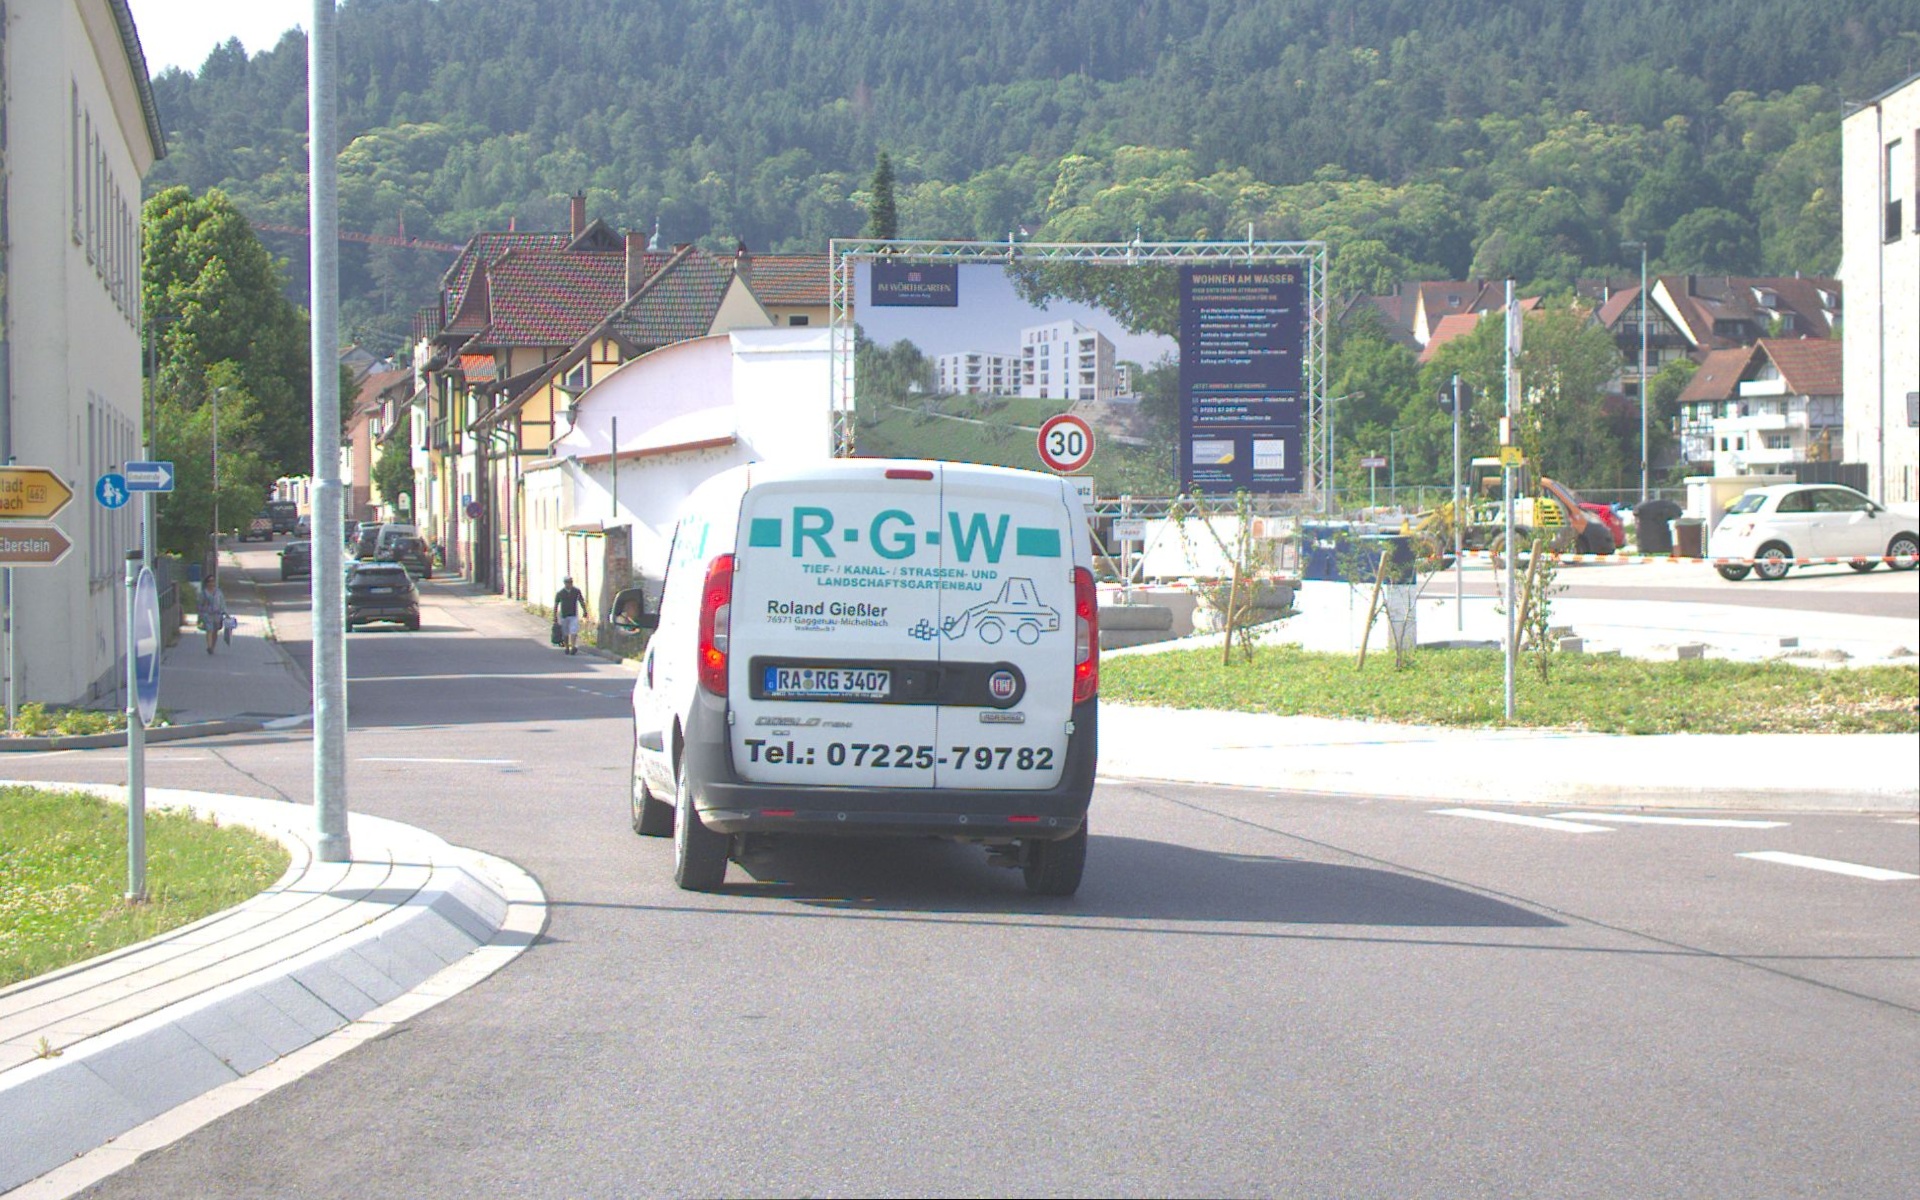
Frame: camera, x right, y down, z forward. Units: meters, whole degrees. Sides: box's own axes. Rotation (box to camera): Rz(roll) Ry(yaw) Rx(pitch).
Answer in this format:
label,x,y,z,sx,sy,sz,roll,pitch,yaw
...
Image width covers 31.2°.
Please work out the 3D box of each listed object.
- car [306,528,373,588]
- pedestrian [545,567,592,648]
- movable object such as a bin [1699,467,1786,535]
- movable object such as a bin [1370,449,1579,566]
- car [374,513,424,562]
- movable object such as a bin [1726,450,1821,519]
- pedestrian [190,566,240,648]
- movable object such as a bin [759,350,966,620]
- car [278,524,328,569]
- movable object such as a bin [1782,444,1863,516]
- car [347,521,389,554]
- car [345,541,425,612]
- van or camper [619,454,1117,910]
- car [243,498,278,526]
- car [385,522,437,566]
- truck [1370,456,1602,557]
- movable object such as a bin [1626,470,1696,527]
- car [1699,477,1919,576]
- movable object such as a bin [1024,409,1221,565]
label,x,y,z,sx,sy,sz,roll,pitch,yaw
car,-17.992,-1.242,99.579,1.810,1.591,3.928,2,2,-11
pedestrian,-8.243,0.158,72.322,0.888,1.677,0.719,1,0,-12
movable object such as a bin,17.695,-2.245,77.791,1.580,1.459,1.320,2,2,-1
movable object such as a bin,12.040,-2.145,80.417,4.615,2.560,1.924,-1,1,14
car,-23.780,-2.646,145.633,1.870,2.006,4.001,0,2,-12
movable object such as a bin,17.896,-2.546,75.698,1.693,1.459,1.320,2,2,-1
pedestrian,-15.037,0.135,69.394,0.957,1.625,0.758,0,1,-12
movable object such as a bin,-1.636,-1.732,53.780,2.294,3.841,7.800,2,1,-8
car,-25.368,-2.070,132.764,1.810,1.591,3.928,2,2,-11
movable object such as a bin,18.216,-2.538,72.644,1.299,1.459,1.320,2,2,-1
car,-27.834,-2.944,161.628,1.669,1.503,4.001,-1,2,-14
car,-14.225,-0.597,84.919,1.810,1.591,3.928,2,2,-11
van or camper,-0.569,0.297,16.064,1.827,1.838,4.189,0,1,-8
car,-42.744,-5.376,209.932,1.810,1.591,3.928,2,2,-15
car,-21.723,-2.228,135.904,1.810,1.591,3.928,2,2,-12
truck,12.829,-2.262,83.755,5.318,2.258,2.217,-1,1,14
movable object such as a bin,16.351,-2.378,80.204,1.296,1.263,1.320,2,2,-1
car,13.892,-1.181,55.622,3.404,1.490,1.595,-2,0,-12
movable object such as a bin,4.044,-2.735,84.327,2.853,3.609,5.729,3,2,23
